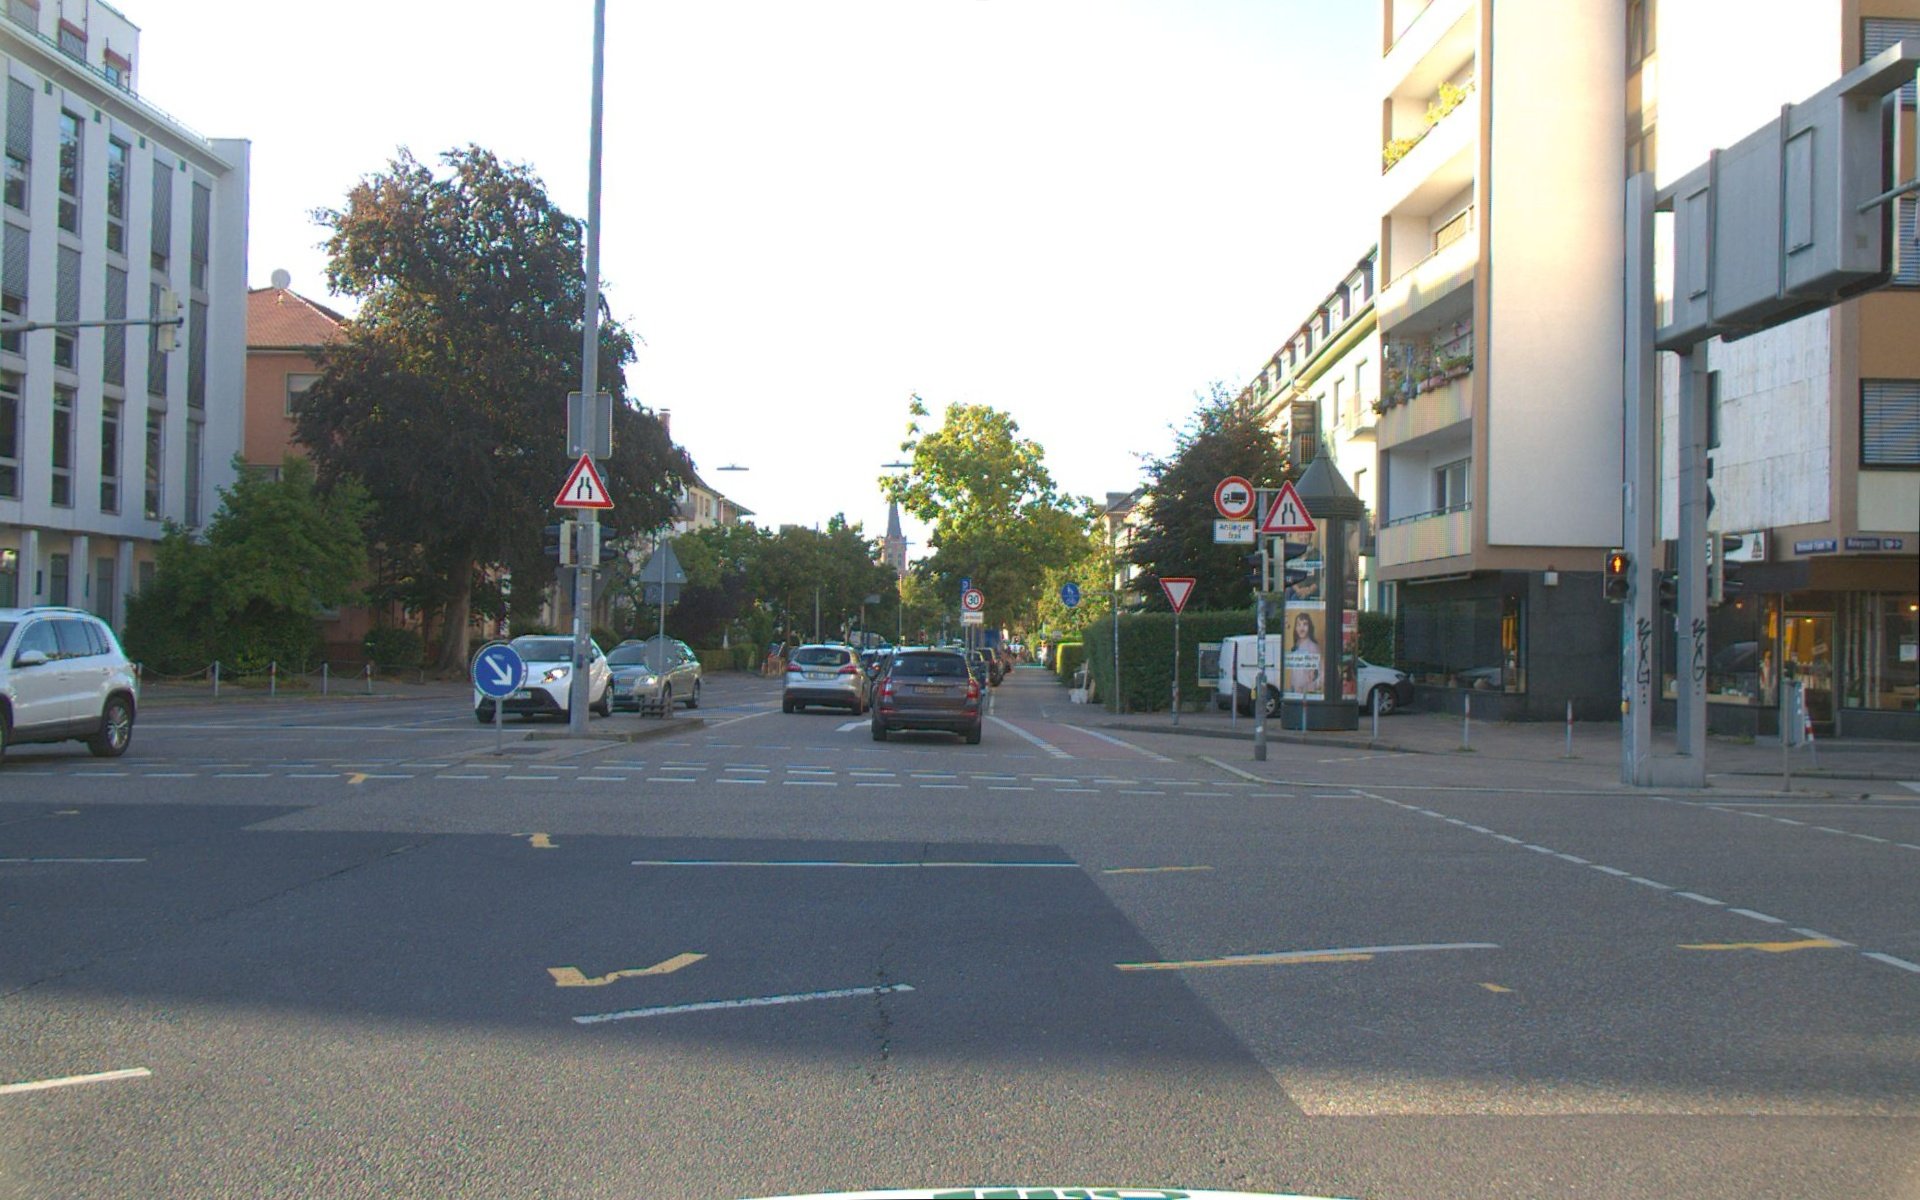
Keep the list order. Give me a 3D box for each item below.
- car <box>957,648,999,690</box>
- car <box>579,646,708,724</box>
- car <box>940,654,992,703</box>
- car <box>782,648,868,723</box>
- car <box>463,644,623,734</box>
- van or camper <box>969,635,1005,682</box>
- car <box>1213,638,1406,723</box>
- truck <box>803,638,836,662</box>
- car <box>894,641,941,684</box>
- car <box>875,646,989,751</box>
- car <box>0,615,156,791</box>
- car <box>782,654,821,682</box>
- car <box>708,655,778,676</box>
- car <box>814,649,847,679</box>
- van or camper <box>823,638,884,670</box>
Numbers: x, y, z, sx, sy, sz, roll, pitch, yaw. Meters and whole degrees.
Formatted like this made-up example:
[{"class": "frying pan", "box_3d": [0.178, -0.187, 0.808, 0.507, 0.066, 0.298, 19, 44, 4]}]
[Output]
[{"class": "car", "box_3d": [0.788, 2.935, 70.943, 1.696, 1.680, 4.291, 1, -1, 2]}, {"class": "car", "box_3d": [-6.788, 1.783, 35.904, 1.790, 1.541, 4.604, 1, -1, 1]}, {"class": "car", "box_3d": [0.226, 2.705, 57.688, 1.696, 1.578, 3.646, 1, -1, 2]}, {"class": "car", "box_3d": [-2.961, 1.856, 36.814, 1.695, 1.520, 3.948, 1, -1, -2]}, {"class": "car", "box_3d": [-7.417, 1.547, 29.786, 1.790, 1.486, 3.902, 1, -1, 1]}, {"class": "van or camper", "box_3d": [1.659, 3.493, 98.330, 2.025, 2.723, 5.990, 1, -2, 2]}, {"class": "car", "box_3d": [7.922, 1.812, 37.744, 4.004, 1.846, 1.861, 1, -1, -1]}, {"class": "truck", "box_3d": [-13.222, 4.710, 155.791, 2.853, 2.130, 1.546, 1, -1, 1]}, {"class": "car", "box_3d": [-1.697, 2.524, 67.516, 1.696, 1.680, 3.542, 1, -1, 2]}, {"class": "car", "box_3d": [-0.482, 1.535, 26.795, 1.695, 1.520, 3.948, 1, -1, -2]}, {"class": "car", "box_3d": [-10.424, 1.031, 17.508, 1.791, 1.736, 4.438, 1, -1, -3]}, {"class": "car", "box_3d": [-9.075, 3.890, 94.870, 1.714, 1.529, 4.197, 1, -1, 2]}, {"class": "car", "box_3d": [-14.746, 4.437, 112.219, 4.627, 1.386, 1.994, 1, -1, -12]}, {"class": "car", "box_3d": [-8.642, 4.280, 110.840, 1.733, 1.953, 4.460, 1, -1, 2]}, {"class": "van or camper", "box_3d": [-13.221, 6.710, 205.509, 7.484, 3.943, 2.000, 1, -2, 0]}]
